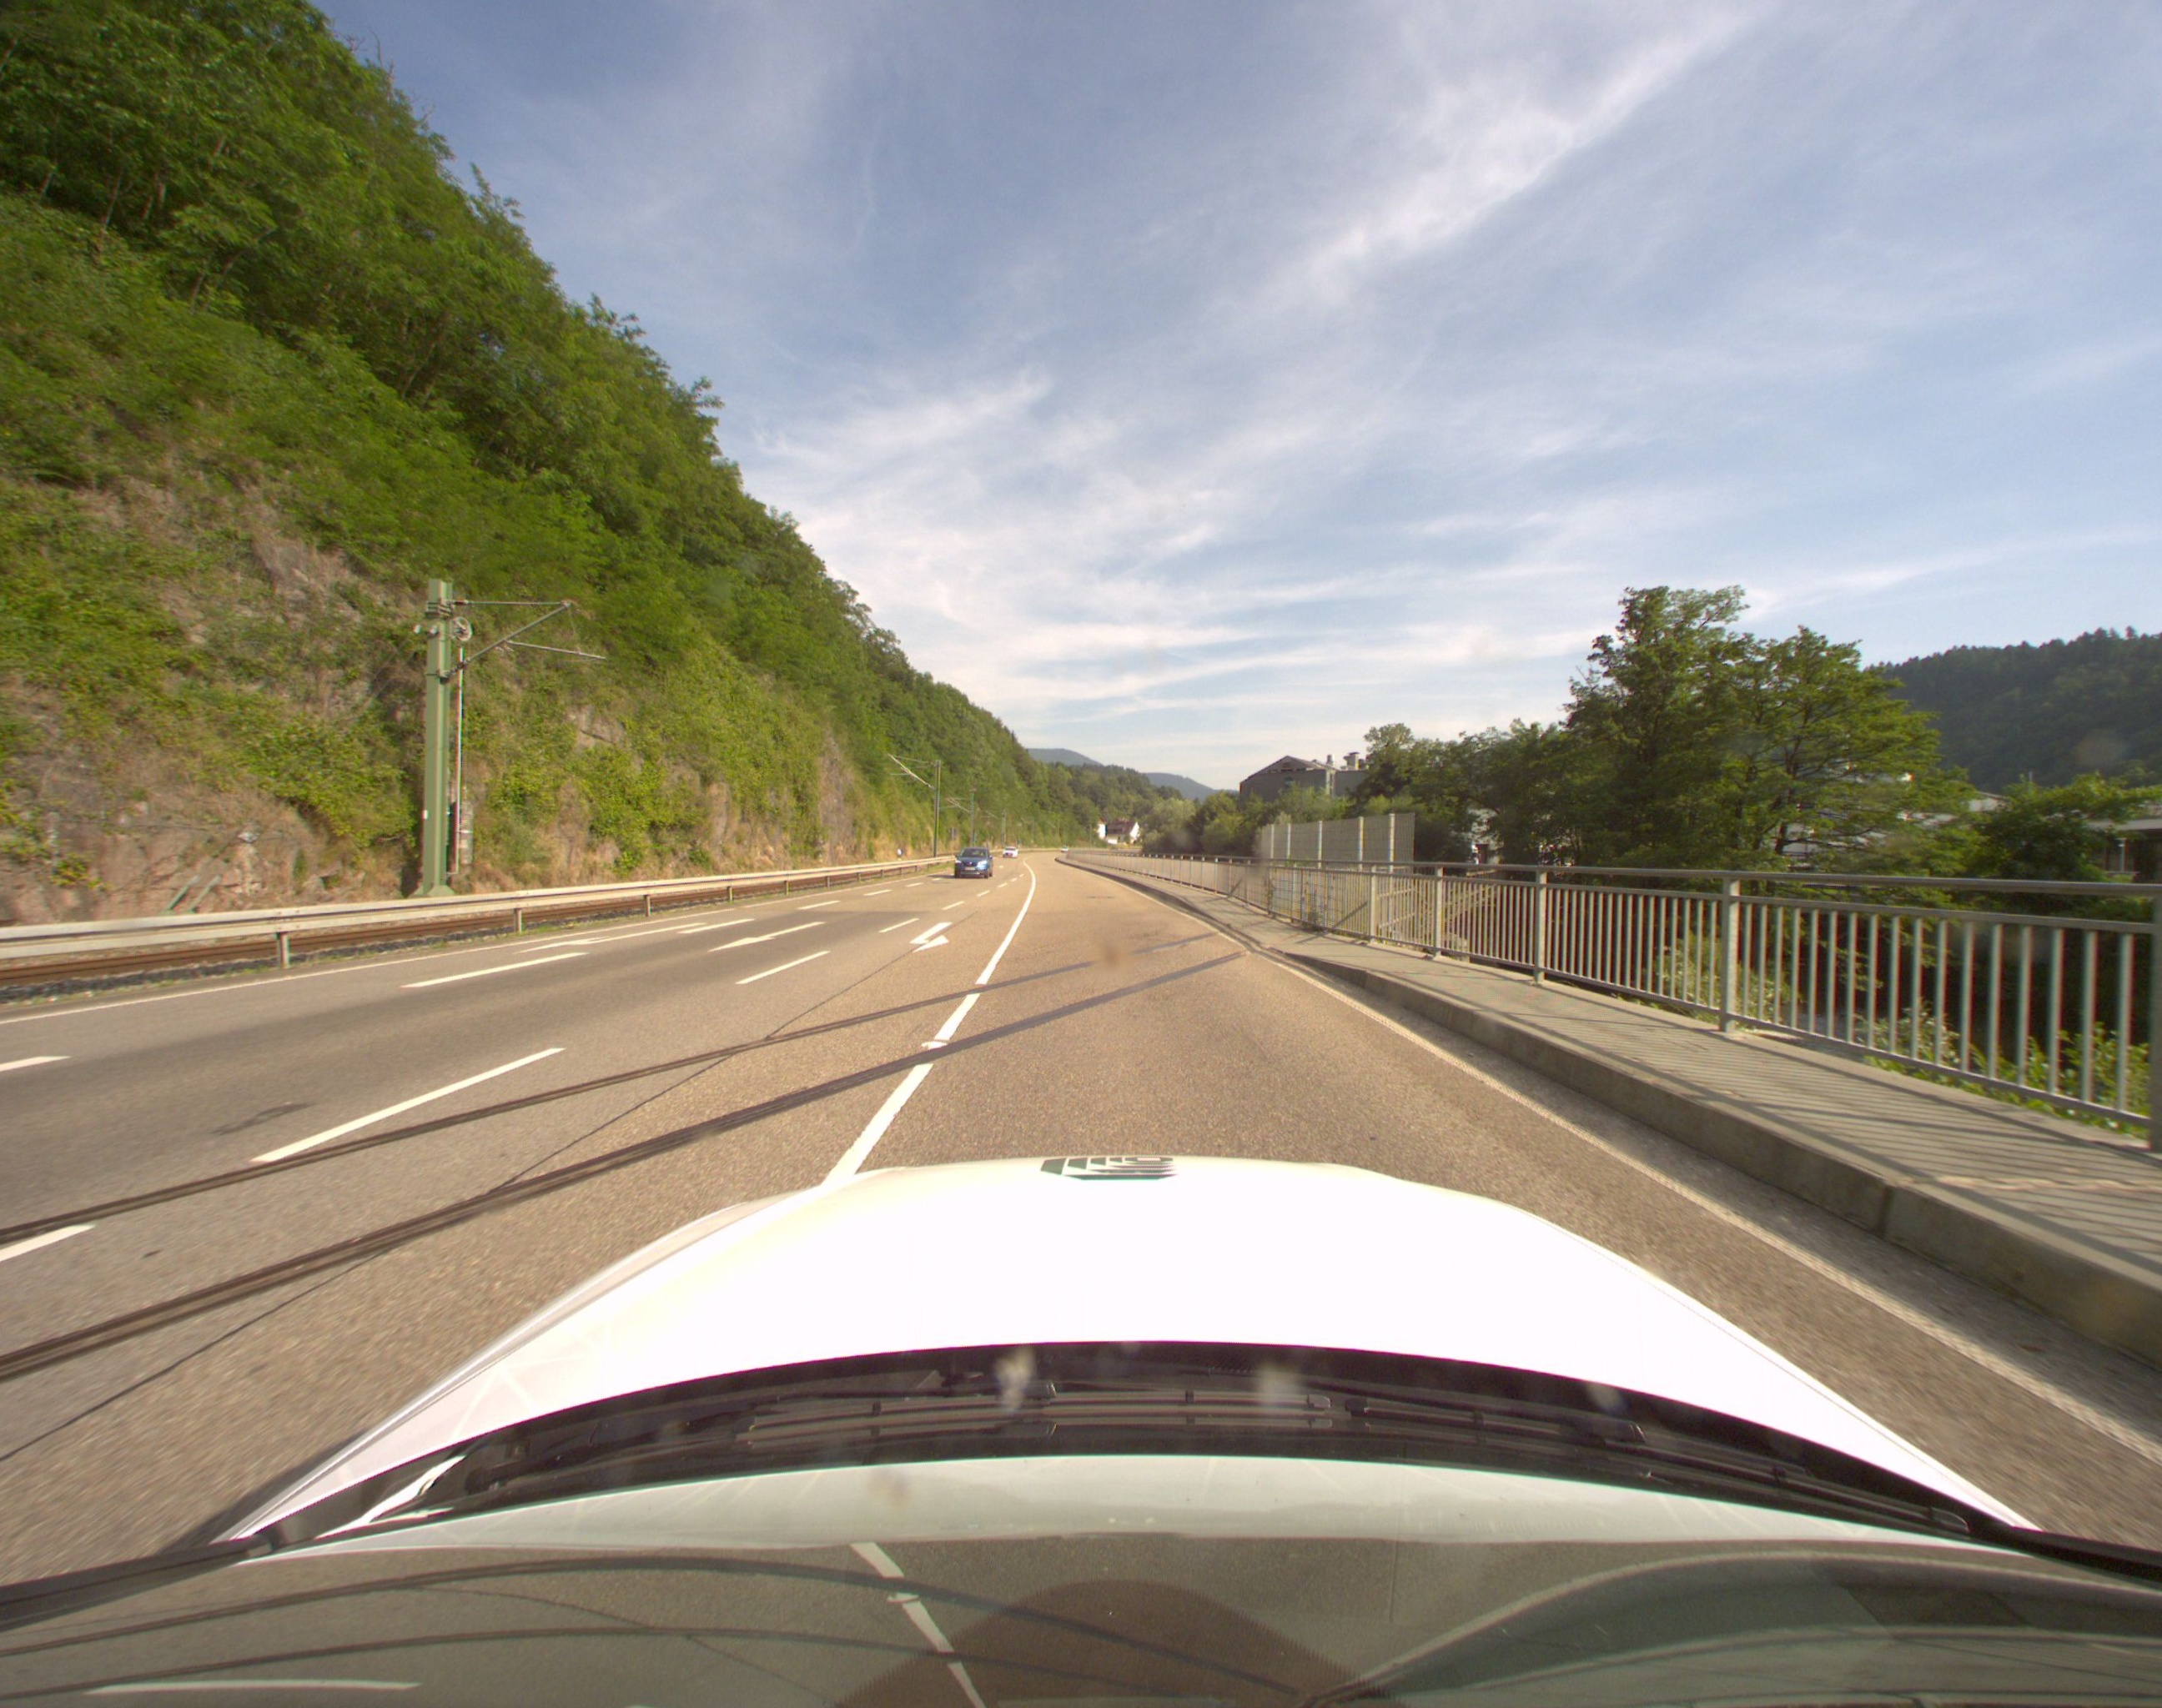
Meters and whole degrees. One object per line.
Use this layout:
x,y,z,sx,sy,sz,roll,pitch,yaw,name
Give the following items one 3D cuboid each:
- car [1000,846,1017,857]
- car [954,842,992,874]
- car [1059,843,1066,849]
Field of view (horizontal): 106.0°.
-9.840,-0.398,110.376,2.058,1.439,4.682,1,1,-3,car
-5.570,0.185,42.536,1.715,1.570,4.129,0,1,-4,car
-4.628,-2.048,205.335,1.842,1.544,4.601,0,1,-1,car
